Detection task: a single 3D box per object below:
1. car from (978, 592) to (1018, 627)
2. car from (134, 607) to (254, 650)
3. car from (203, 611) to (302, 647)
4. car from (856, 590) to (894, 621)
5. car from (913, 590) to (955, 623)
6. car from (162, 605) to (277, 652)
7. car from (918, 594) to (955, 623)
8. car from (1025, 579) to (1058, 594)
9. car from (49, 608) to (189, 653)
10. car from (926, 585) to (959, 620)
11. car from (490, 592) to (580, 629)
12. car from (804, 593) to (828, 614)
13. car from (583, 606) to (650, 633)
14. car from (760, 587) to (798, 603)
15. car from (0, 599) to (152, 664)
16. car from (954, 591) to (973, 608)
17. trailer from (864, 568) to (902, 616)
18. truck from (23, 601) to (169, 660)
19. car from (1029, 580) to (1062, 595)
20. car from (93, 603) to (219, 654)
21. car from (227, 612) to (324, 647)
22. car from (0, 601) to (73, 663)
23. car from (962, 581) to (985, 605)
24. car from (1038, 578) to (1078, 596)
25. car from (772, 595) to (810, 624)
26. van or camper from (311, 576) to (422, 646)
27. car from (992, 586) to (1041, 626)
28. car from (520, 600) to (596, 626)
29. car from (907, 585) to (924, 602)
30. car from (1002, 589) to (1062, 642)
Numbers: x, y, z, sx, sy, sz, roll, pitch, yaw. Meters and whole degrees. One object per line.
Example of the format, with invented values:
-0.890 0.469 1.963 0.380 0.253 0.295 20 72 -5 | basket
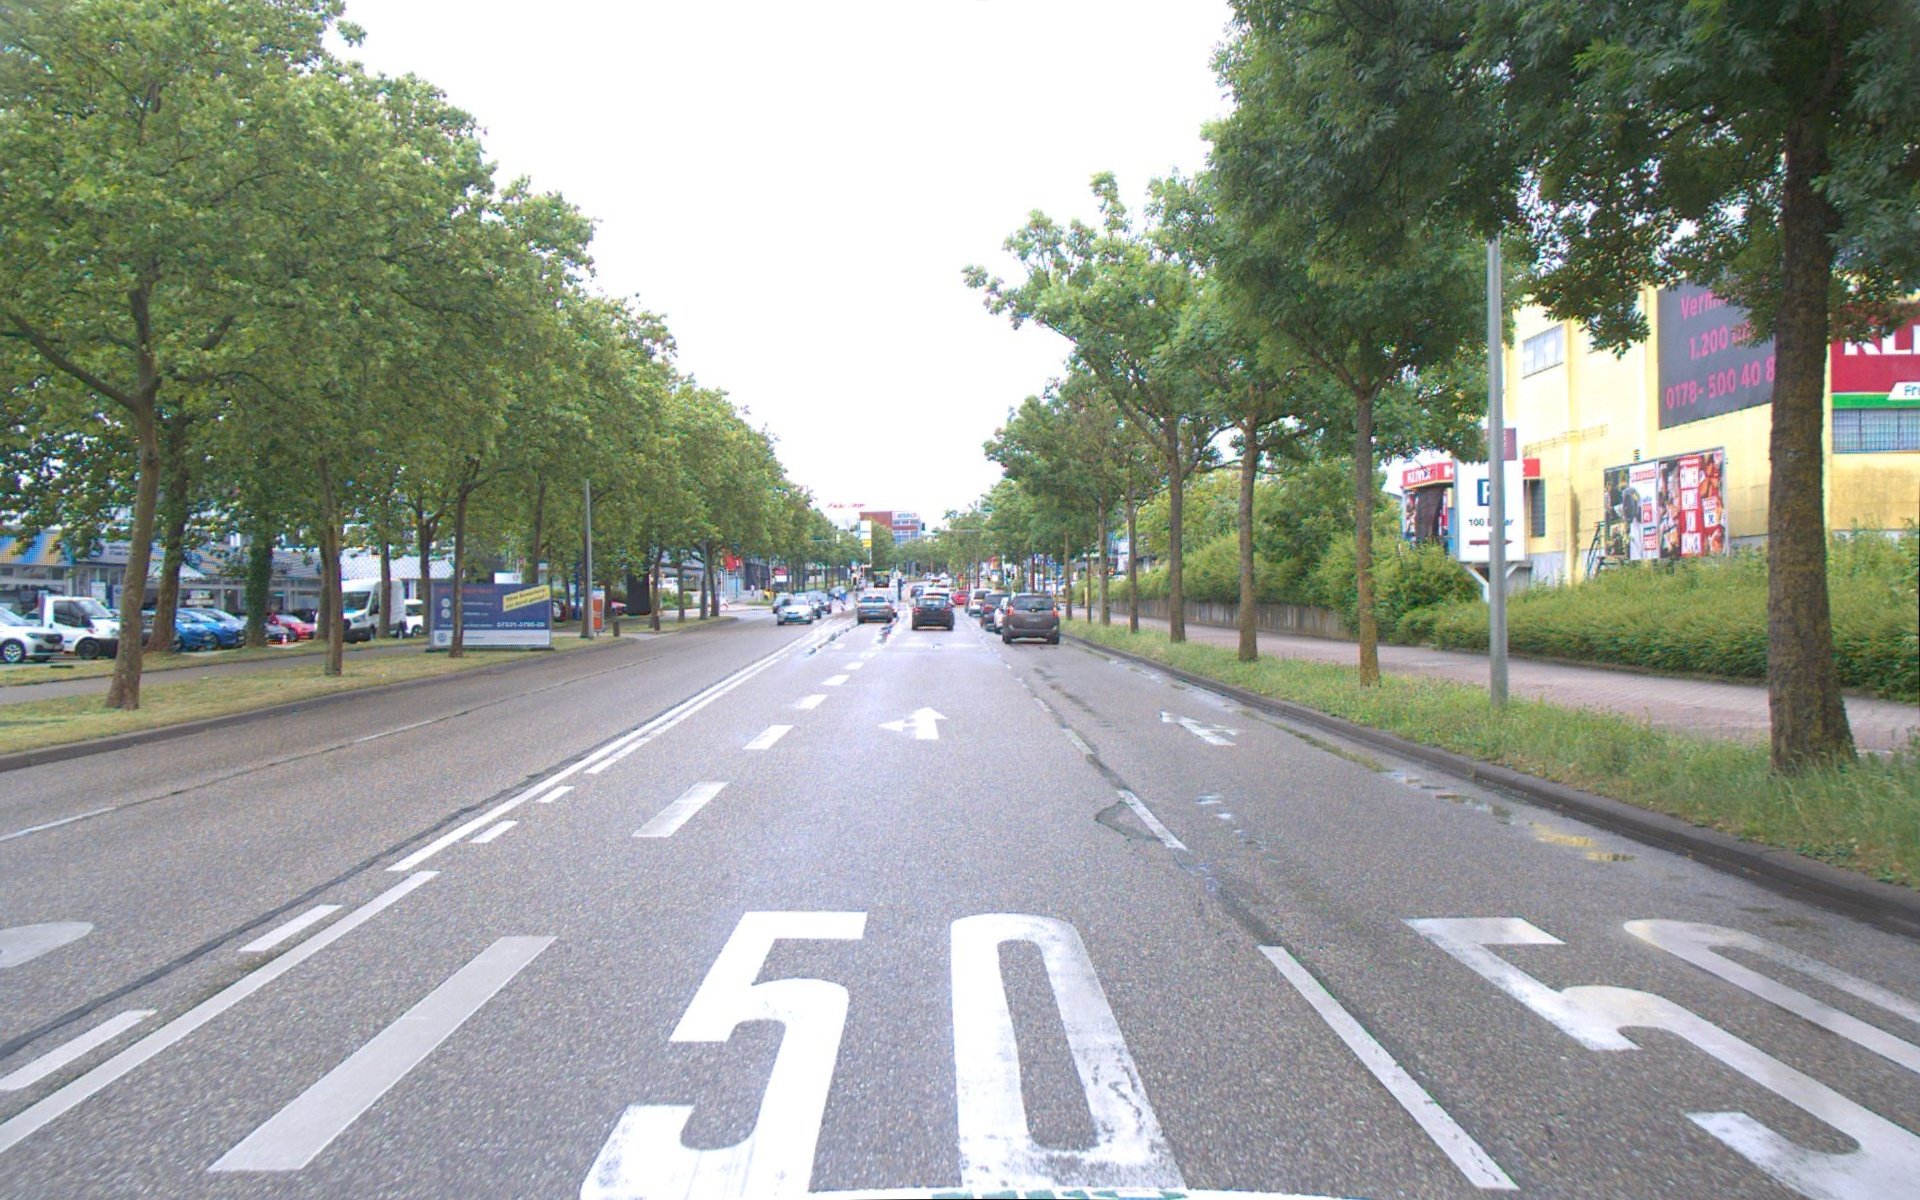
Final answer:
1.843 0.447 81.498 1.764 1.614 4.450 1 1 -1 | car
-29.687 1.100 64.138 3.902 1.547 1.867 -1 0 13 | car
-31.605 1.288 73.876 3.811 1.493 1.601 -1 0 11 | car
-4.618 0.285 90.576 1.868 1.606 4.879 -1 0 -1 | car
-1.171 0.258 72.848 1.746 1.422 3.999 0 0 -2 | car
-29.859 1.136 66.707 3.902 1.797 1.866 -1 0 15 | car
-1.233 0.418 85.737 1.649 1.401 3.996 -1 1 -5 | car
9.402 -1.572 191.481 3.567 1.562 1.770 -3 1 -41 | car
-29.984 1.065 59.039 3.904 1.486 2.034 -1 0 2 | car
-1.074 0.165 99.440 1.953 2.049 3.999 1 0 -1 | car
-22.626 0.522 88.040 4.396 1.847 1.985 -1 0 -24 | car
-10.733 0.274 123.016 1.634 1.487 4.175 -2 0 -6 | car
-23.793 1.341 114.492 4.165 1.623 1.984 -3 1 -25 | car
-20.139 -0.554 184.279 3.916 1.579 1.895 -1 1 33 | car
-29.057 0.998 52.855 5.270 1.936 2.413 -1 0 -5 | car
0.301 -0.084 146.463 1.661 1.468 3.988 -1 0 -1 | car
-4.906 -0.517 105.639 2.325 2.947 5.543 -1 0 -3 | trailer
-29.312 1.017 56.214 3.915 1.870 1.995 -1 0 -11 | truck
9.557 -1.399 184.046 3.567 1.563 1.619 -2 1 -41 | car
-29.883 1.064 61.523 3.902 1.797 1.867 -1 0 14 | car
-31.784 1.369 76.866 3.901 1.493 1.601 -1 0 11 | car
-28.881 0.960 49.224 3.908 1.797 1.881 -1 0 -4 | car
1.010 -0.504 122.969 1.650 1.713 3.402 1 0 -1 | car
10.568 -1.364 178.327 3.992 1.691 1.953 -4 2 -41 | car
-9.113 0.488 89.134 1.955 1.454 4.679 -2 0 -6 | car
-22.244 0.380 62.307 1.953 2.513 6.400 0 0 -1 | van or camper
2.280 0.221 67.986 1.764 1.571 4.619 1 0 -1 | car
-25.872 0.809 106.442 4.494 1.624 1.985 0 0 -24 | car
-5.296 -0.757 199.276 1.953 2.049 3.999 1 0 -1 | car
2.320 0.476 54.215 1.691 1.652 4.470 -1 0 -1 | car
